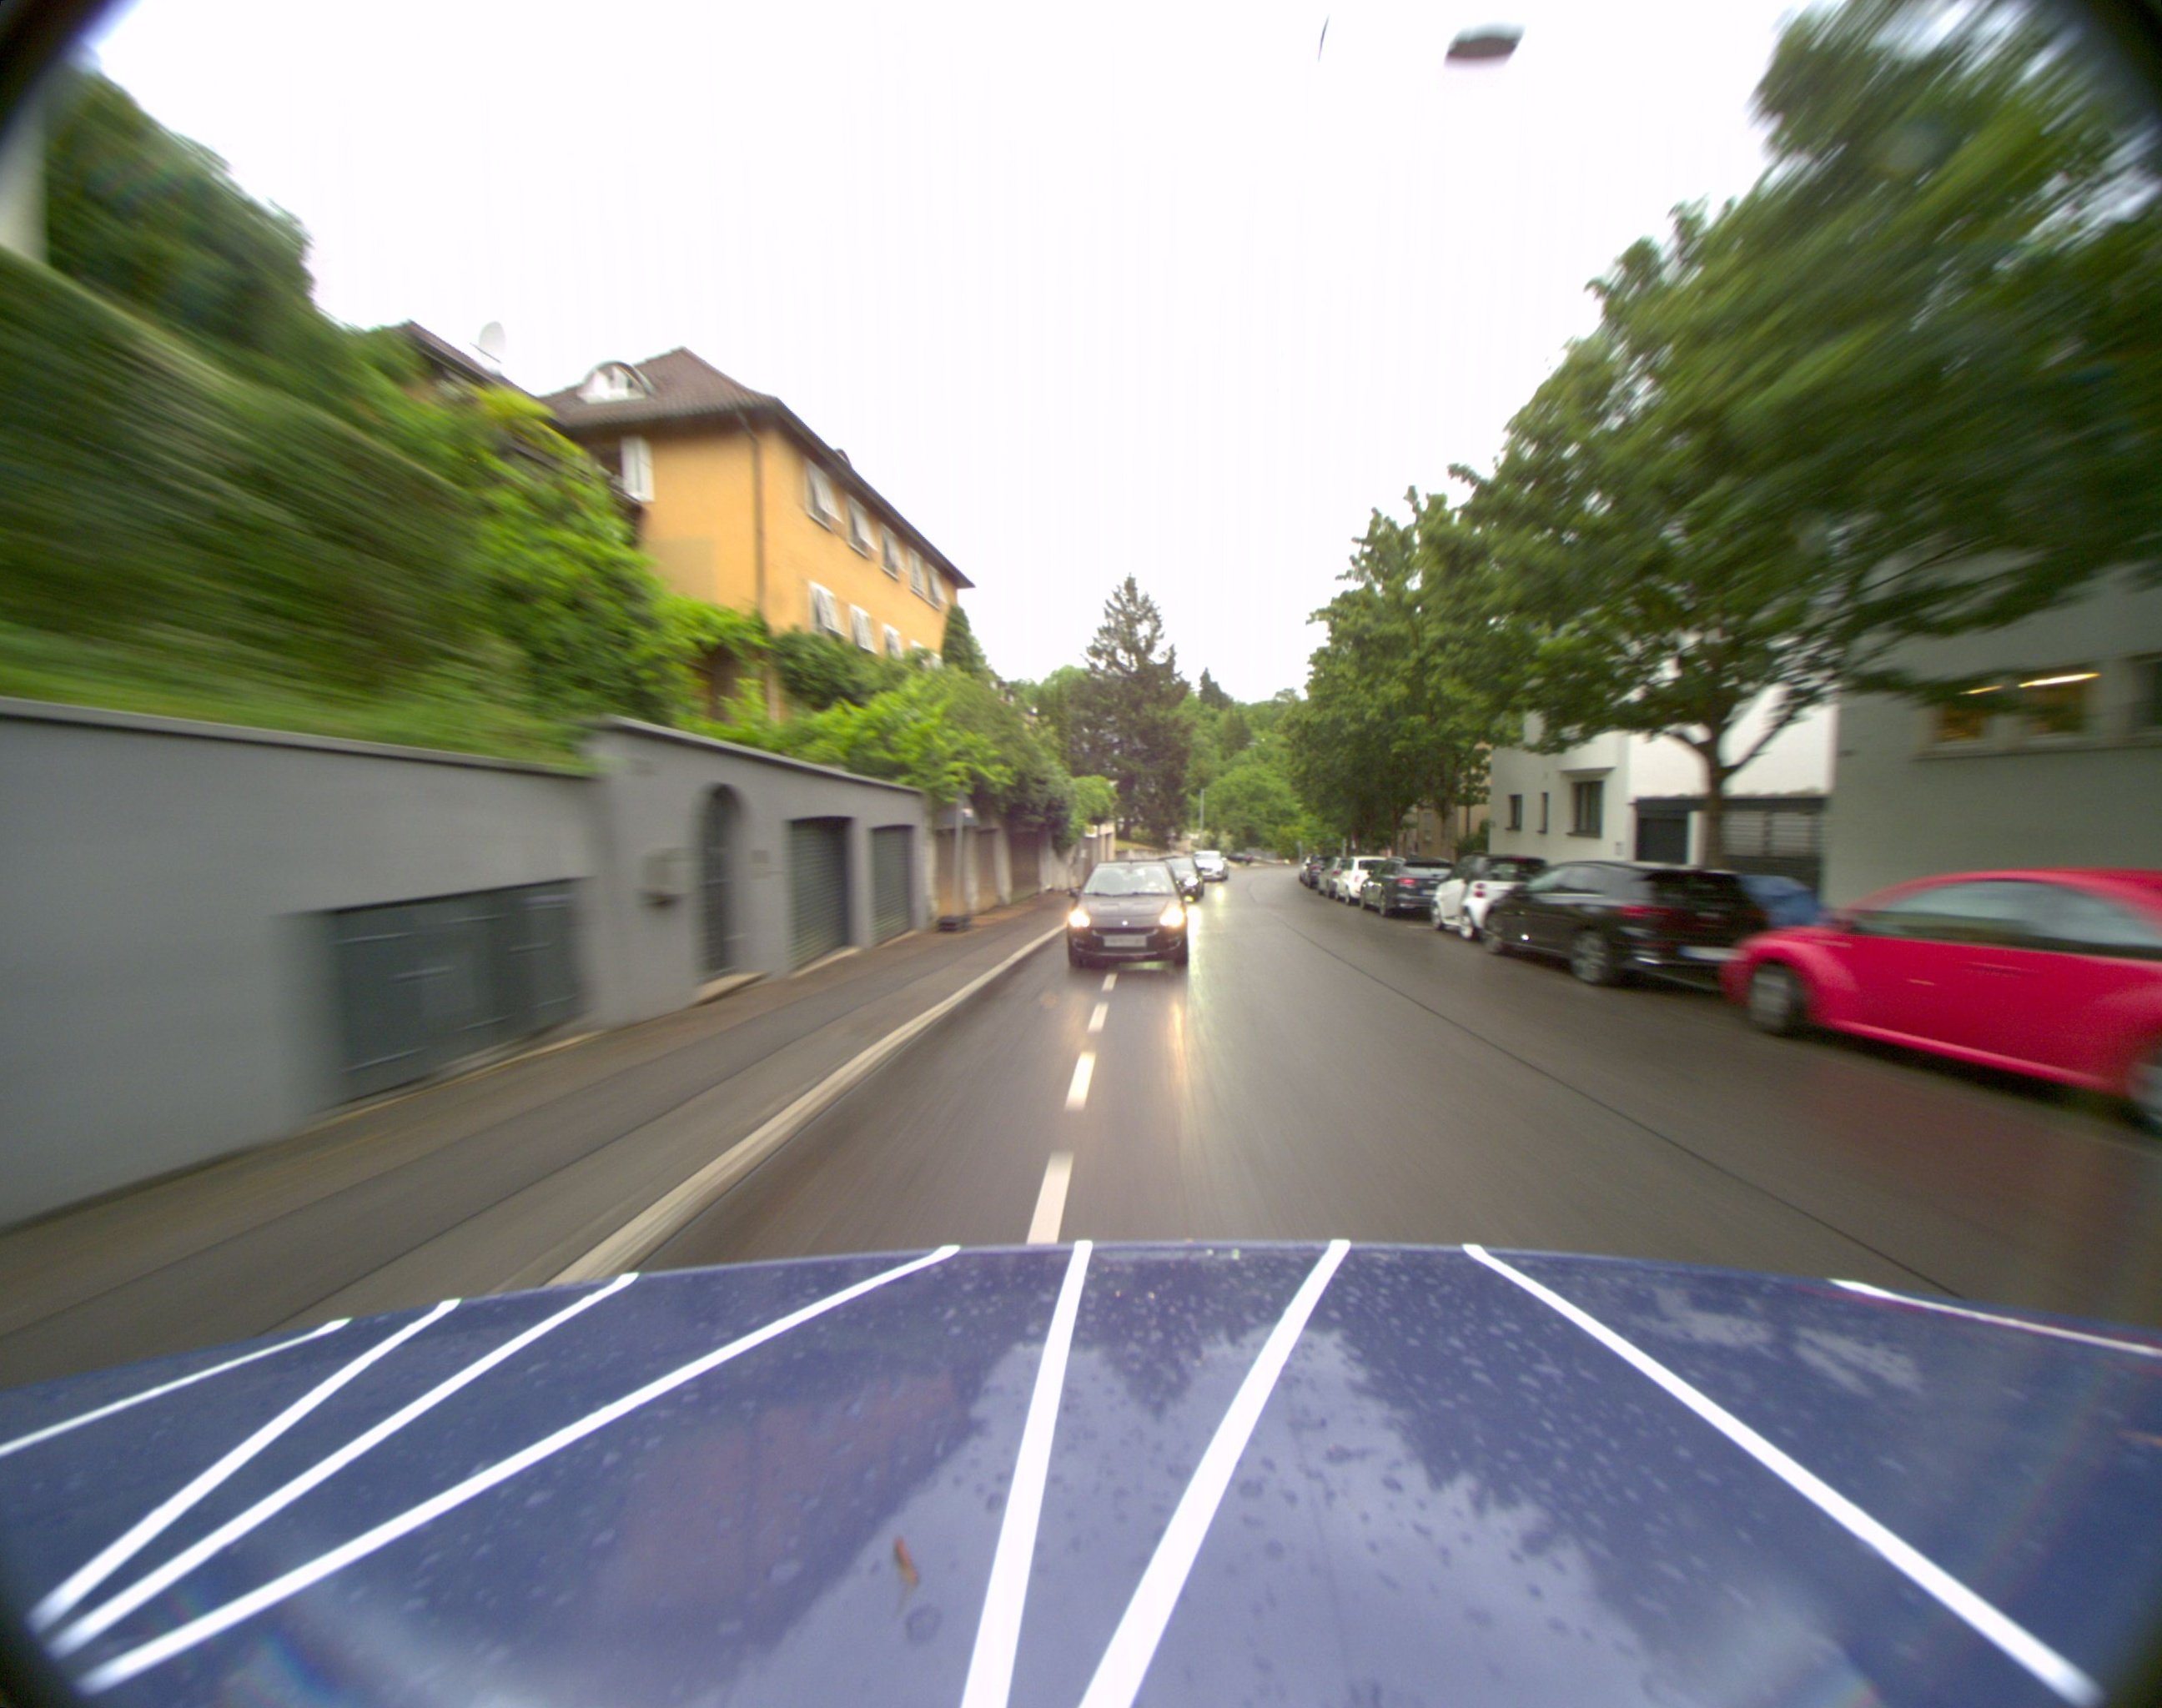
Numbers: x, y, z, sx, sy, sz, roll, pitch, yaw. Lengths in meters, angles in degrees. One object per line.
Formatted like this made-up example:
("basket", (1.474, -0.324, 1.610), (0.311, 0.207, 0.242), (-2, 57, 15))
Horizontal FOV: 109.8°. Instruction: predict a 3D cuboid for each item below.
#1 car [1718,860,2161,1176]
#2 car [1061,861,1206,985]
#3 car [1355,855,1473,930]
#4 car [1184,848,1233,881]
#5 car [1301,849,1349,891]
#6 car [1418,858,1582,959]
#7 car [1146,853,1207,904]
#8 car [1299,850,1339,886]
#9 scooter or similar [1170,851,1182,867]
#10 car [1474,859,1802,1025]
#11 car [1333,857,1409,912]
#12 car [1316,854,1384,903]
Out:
("car", (6.561, 0.932, 4.884), (1.637, 1.556, 3.847), (3, 2, 1))
("car", (0.939, 0.882, 11.447), (1.576, 1.444, 3.590), (1, 1, 14))
("car", (8.188, 0.853, 19.088), (1.666, 1.480, 4.478), (3, 2, 11))
("car", (6.979, 0.531, 41.271), (2.010, 1.652, 4.451), (1, 1, 17))
("car", (11.053, 0.662, 34.591), (1.620, 1.649, 3.927), (4, 2, 12))
("car", (7.686, 0.906, 14.289), (1.558, 1.502, 3.385), (3, 2, 9))
("car", (3.275, 0.755, 25.469), (1.806, 1.480, 4.020), (1, 1, 10))
("car", (12.493, 0.680, 40.093), (1.594, 1.649, 3.927), (5, 2, 14))
("scooter or similar", (6.981, 0.330, 55.681), (0.598, 1.126, 1.372), (2, 1, 19))
("car", (6.719, 0.909, 9.805), (1.558, 1.480, 4.099), (3, 2, 8))
("car", (8.877, 0.874, 23.512), (1.576, 1.480, 3.473), (3, 1, 12))
("car", (9.574, 0.807, 27.296), (1.620, 1.462, 3.975), (3, 2, 11))
